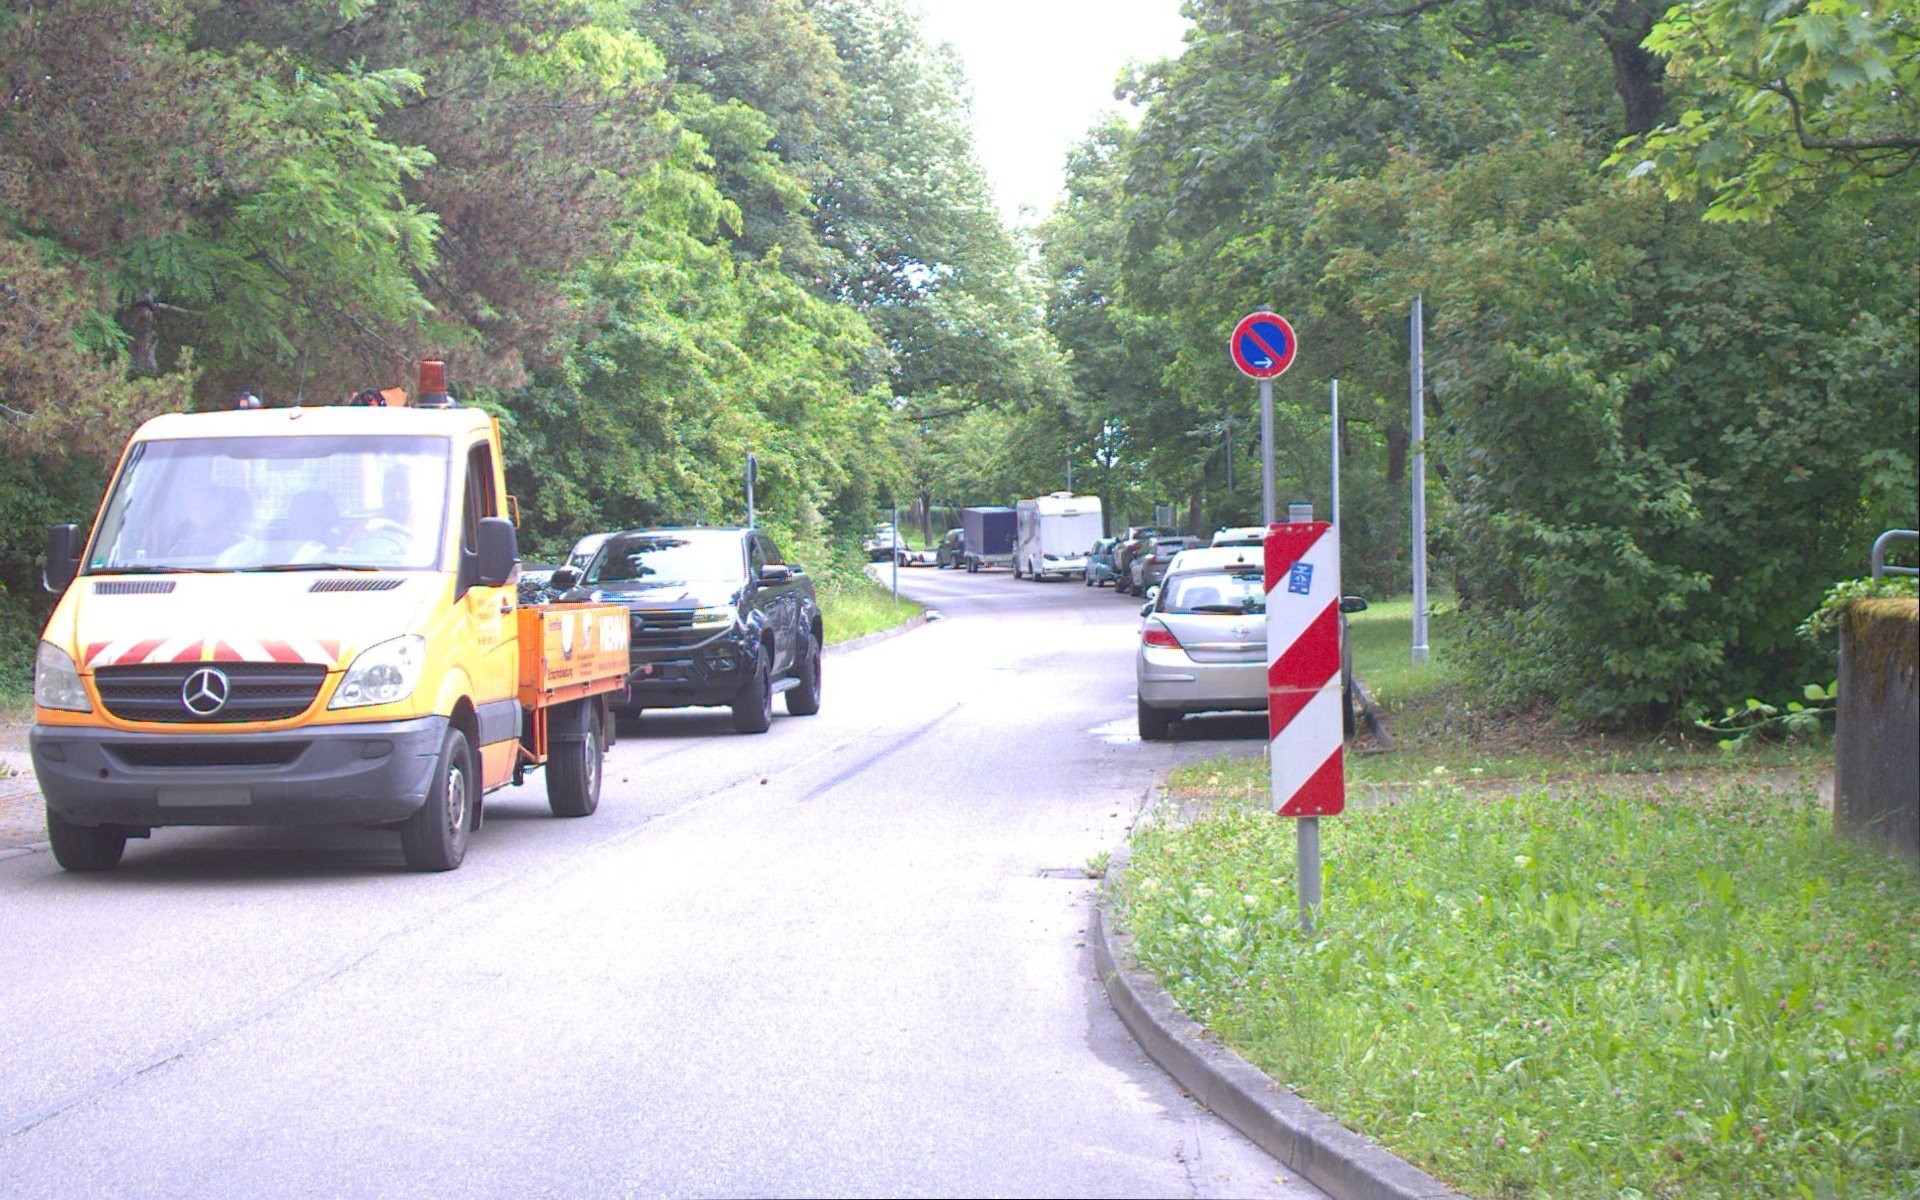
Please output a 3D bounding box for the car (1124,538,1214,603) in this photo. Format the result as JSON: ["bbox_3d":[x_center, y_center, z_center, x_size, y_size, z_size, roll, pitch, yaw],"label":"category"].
[{"bbox_3d":[5.660,-0.791,93.579,1.792,1.664,4.502,-2,0,-5],"label":"car"}]

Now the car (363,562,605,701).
[{"bbox_3d":[-5.170,0.300,37.894,1.806,1.398,4.371,1,1,4],"label":"car"}]

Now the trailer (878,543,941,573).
[{"bbox_3d":[-2.068,-1.711,139.388,1.651,1.083,4.001,-4,2,-13],"label":"trailer"}]

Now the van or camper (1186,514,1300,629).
[{"bbox_3d":[4.685,-0.437,57.374,1.802,1.831,4.320,-1,-1,4],"label":"van or camper"}]

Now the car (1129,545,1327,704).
[{"bbox_3d":[2.789,0.197,35.960,1.886,1.501,5.175,-1,1,4],"label":"car"}]

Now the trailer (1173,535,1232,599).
[{"bbox_3d":[6.153,-0.853,87.344,1.278,1.579,2.460,-1,1,0],"label":"trailer"}]

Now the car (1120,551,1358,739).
[{"bbox_3d":[2.349,0.326,28.528,1.793,1.406,4.058,-1,1,6],"label":"car"}]

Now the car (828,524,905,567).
[{"bbox_3d":[-4.045,-2.370,148.498,2.034,1.797,4.084,-2,2,-21],"label":"car"}]

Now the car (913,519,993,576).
[{"bbox_3d":[-0.290,-2.085,135.594,1.993,2.019,4.002,-4,4,-16],"label":"car"}]

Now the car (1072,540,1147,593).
[{"bbox_3d":[4.718,-1.082,109.190,1.799,1.556,3.836,-2,2,-6],"label":"car"}]

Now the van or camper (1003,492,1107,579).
[{"bbox_3d":[3.246,-2.236,119.618,2.481,2.866,6.891,-1,1,-8],"label":"van or camper"}]

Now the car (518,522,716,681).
[{"bbox_3d":[-4.378,-0.028,44.462,1.721,1.915,4.104,1,2,6],"label":"car"}]

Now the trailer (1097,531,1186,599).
[{"bbox_3d":[5.243,-1.032,99.824,1.979,1.805,5.150,-2,2,-3],"label":"trailer"}]

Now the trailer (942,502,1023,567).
[{"bbox_3d":[0.835,-2.471,130.185,1.993,2.390,4.001,-1,1,-15],"label":"trailer"}]

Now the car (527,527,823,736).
[{"bbox_3d":[-2.507,0.238,31.621,1.994,1.730,5.336,-1,1,3],"label":"car"}]

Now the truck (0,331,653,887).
[{"bbox_3d":[-3.276,-0.030,18.473,2.322,2.461,6.020,1,1,4],"label":"truck"}]
